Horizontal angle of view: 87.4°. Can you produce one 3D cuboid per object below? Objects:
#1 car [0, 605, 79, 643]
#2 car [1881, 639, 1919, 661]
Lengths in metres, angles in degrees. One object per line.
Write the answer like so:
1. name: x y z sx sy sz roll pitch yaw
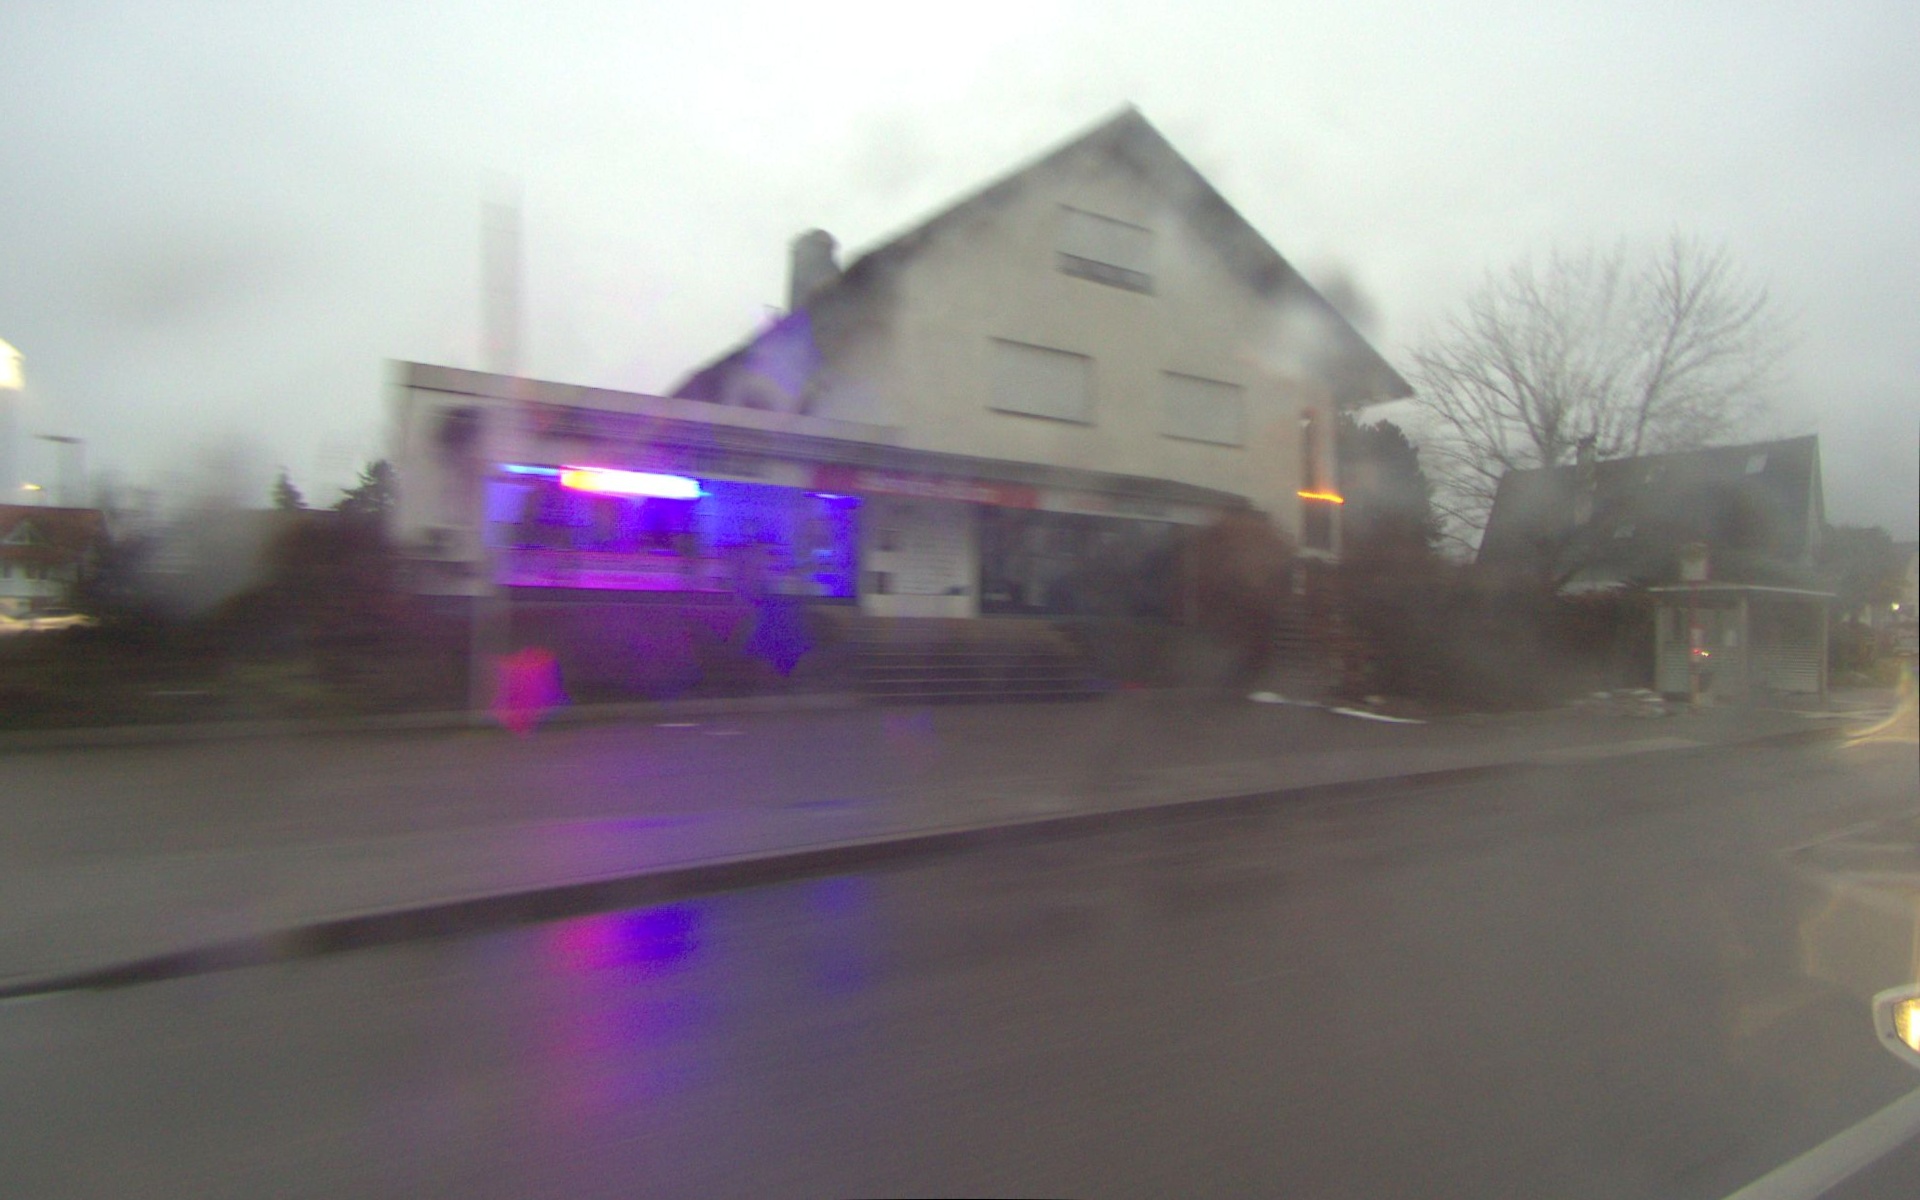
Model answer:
1. car: -44.602 1.131 47.194 4.461 1.662 1.923 0 2 -28
2. car: 64.559 3.423 68.818 1.754 1.411 3.985 2 -1 37
